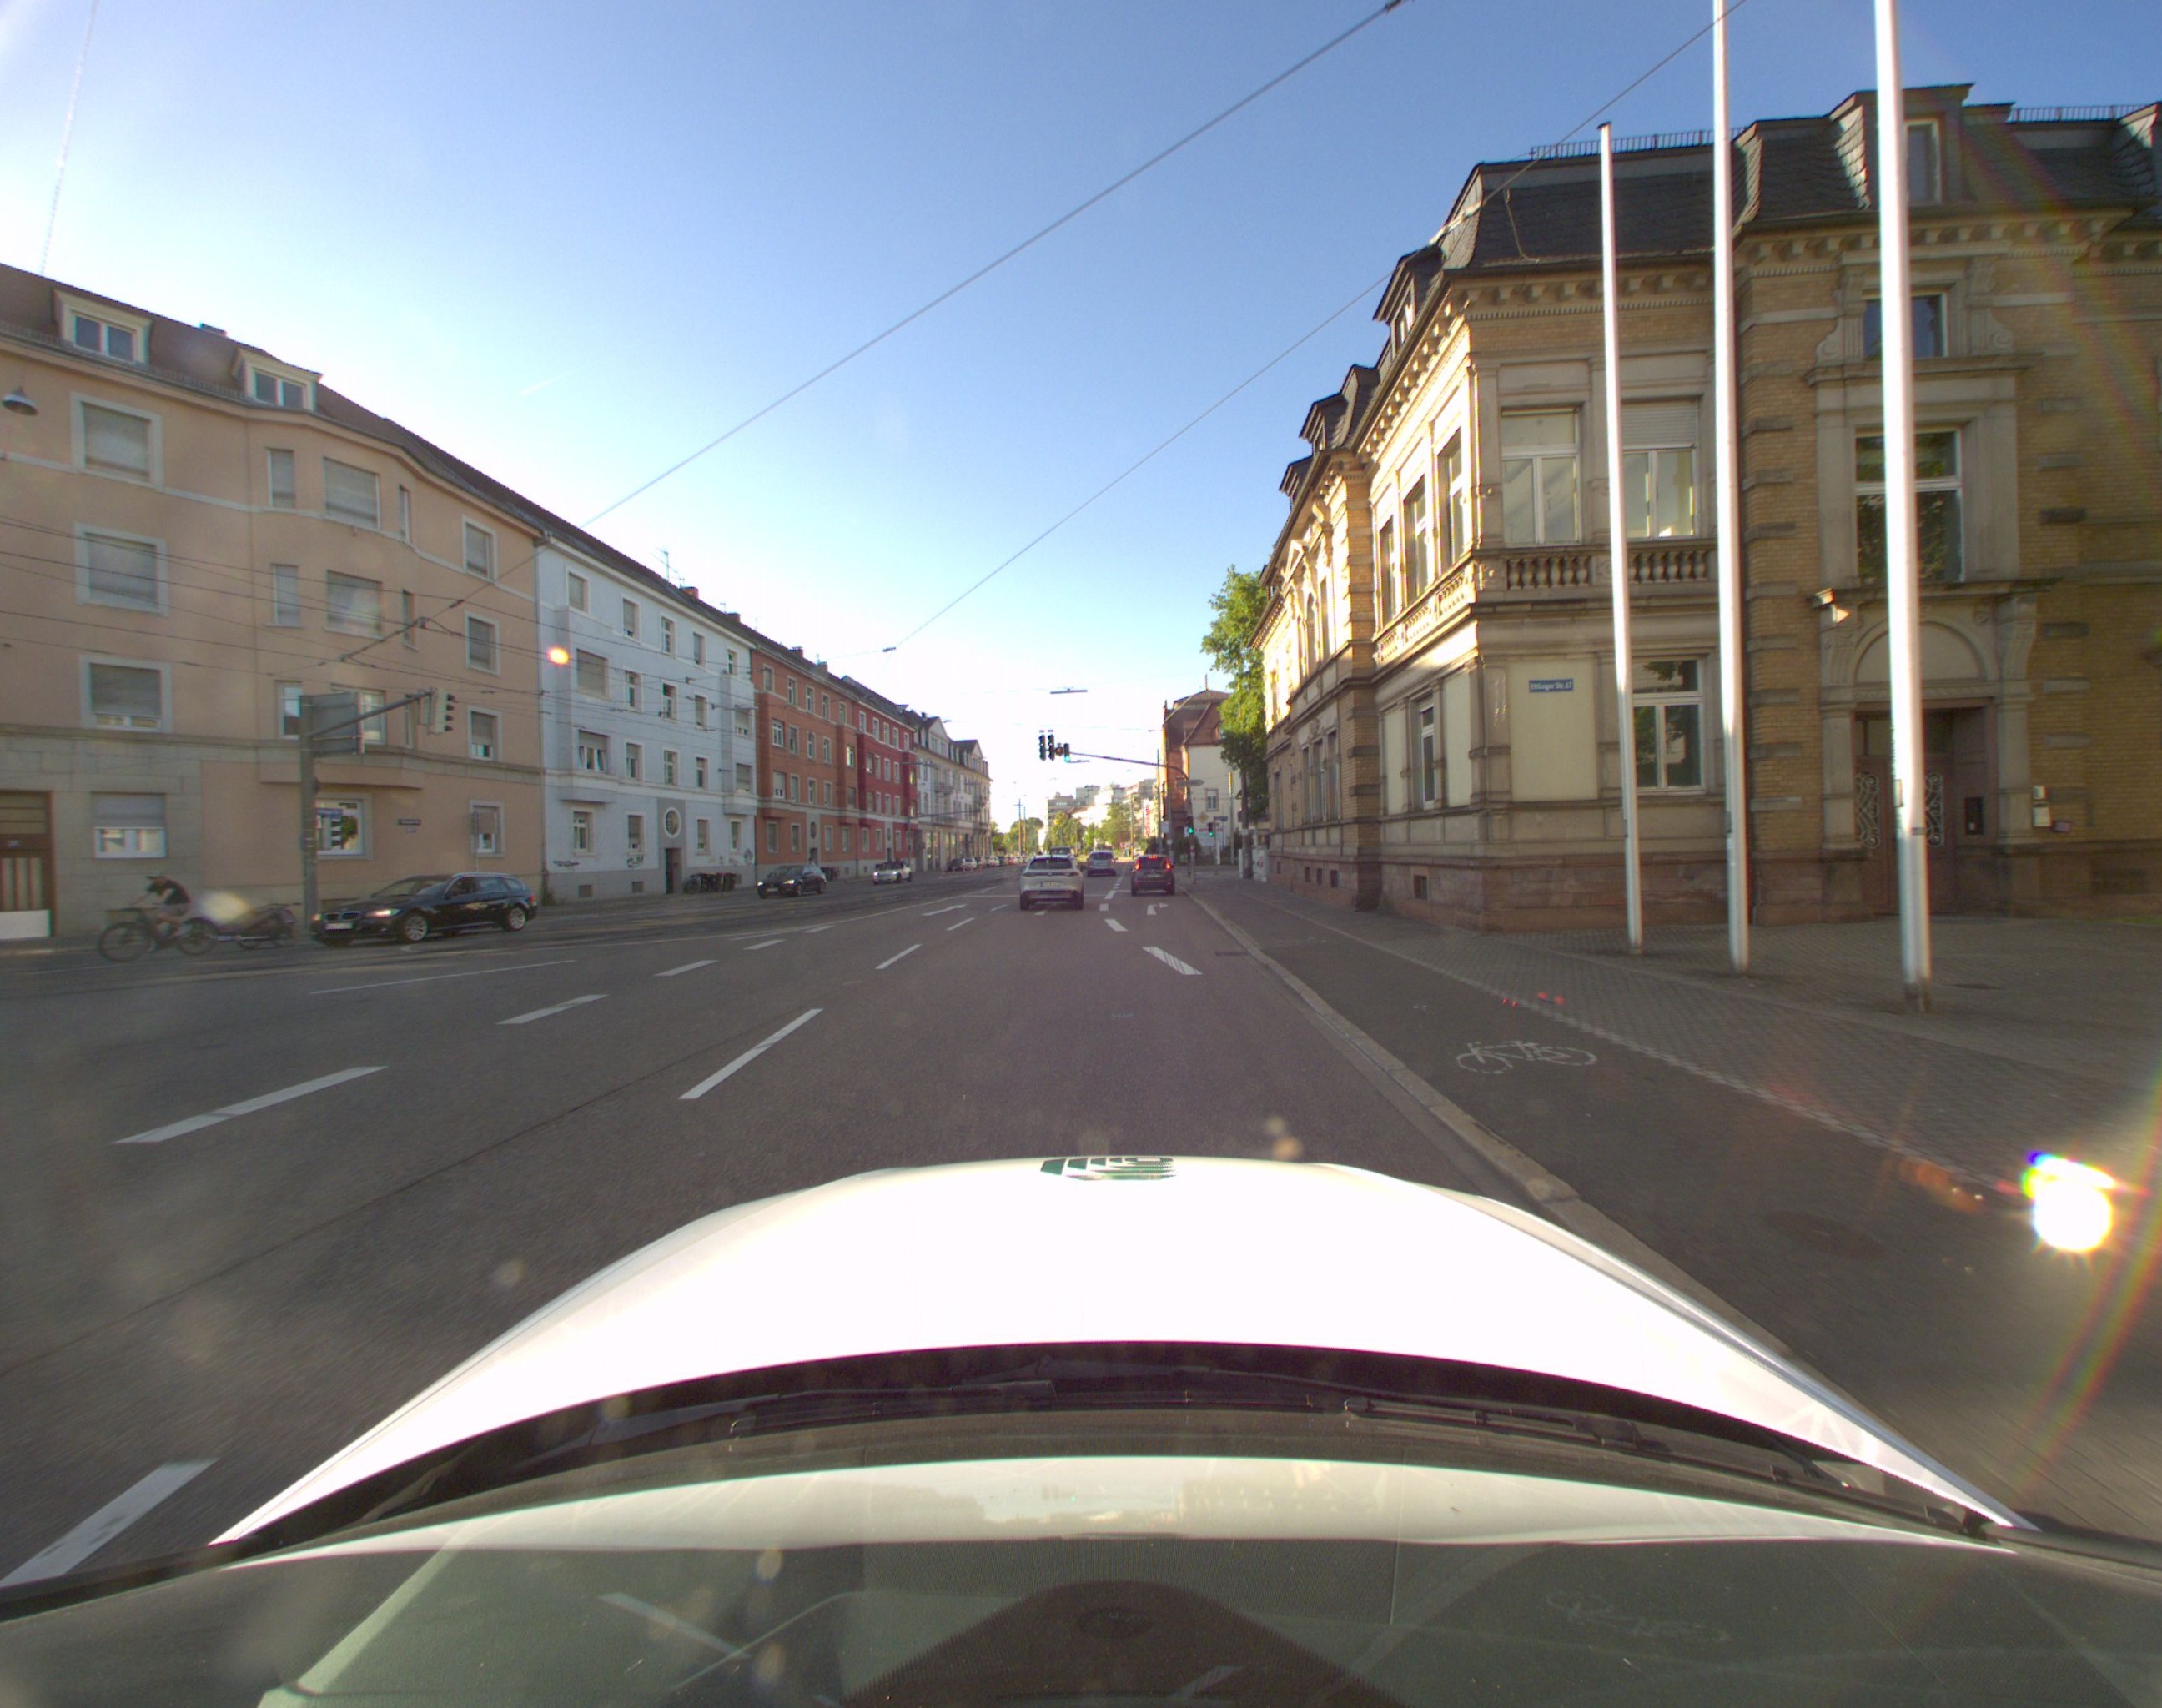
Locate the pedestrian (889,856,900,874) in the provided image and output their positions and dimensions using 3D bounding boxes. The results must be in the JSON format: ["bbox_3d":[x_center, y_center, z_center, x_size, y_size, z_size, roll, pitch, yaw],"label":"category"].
[{"bbox_3d":[-17.218,1.059,75.174,0.786,1.633,0.658,-1,0,22],"label":"pedestrian"}]

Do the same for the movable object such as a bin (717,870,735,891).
[{"bbox_3d":[-19.907,1.483,45.649,0.699,1.106,0.583,-1,0,3],"label":"movable object such as a bin"}]

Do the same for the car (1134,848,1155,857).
[{"bbox_3d":[13.832,-0.291,177.846,4.252,2.013,1.996,-1,0,-6],"label":"car"}]

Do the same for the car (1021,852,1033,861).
[{"bbox_3d":[-10.416,0.434,156.433,1.711,1.552,4.004,-2,0,4],"label":"car"}]

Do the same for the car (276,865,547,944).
[{"bbox_3d":[-14.206,0.991,17.742,1.986,1.392,4.564,-1,0,2],"label":"car"}]

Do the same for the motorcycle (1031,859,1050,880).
[{"bbox_3d":[-2.280,0.857,46.045,0.774,1.082,2.283,-1,0,4],"label":"motorcycle"}]

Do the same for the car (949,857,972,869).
[{"bbox_3d":[-13.711,0.991,93.084,1.711,1.232,4.004,-2,0,4],"label":"car"}]

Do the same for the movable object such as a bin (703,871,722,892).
[{"bbox_3d":[-20.066,1.473,44.348,0.699,1.106,0.649,-1,0,3],"label":"movable object such as a bin"}]

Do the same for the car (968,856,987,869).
[{"bbox_3d":[-13.136,1.029,103.616,1.711,1.552,3.860,-2,0,4],"label":"car"}]

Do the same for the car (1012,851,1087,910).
[{"bbox_3d":[-0.846,0.716,24.237,1.940,1.528,4.091,-1,0,1],"label":"car"}]

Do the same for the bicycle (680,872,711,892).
[{"bbox_3d":[-20.214,1.484,42.764,0.603,0.980,1.879,-1,0,4],"label":"bicycle"}]

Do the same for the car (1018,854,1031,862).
[{"bbox_3d":[-10.423,0.727,150.404,1.711,1.552,4.004,-2,0,4],"label":"car"}]

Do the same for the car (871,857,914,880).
[{"bbox_3d":[-12.069,0.917,52.398,1.719,1.375,3.537,-2,0,3],"label":"car"}]

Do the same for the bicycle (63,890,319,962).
[{"bbox_3d":[-16.961,1.316,15.744,0.928,1.056,3.362,-1,0,9],"label":"bicycle"}]

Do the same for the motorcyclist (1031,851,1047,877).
[{"bbox_3d":[-2.351,0.560,45.990,0.774,1.423,0.892,-1,0,3],"label":"motorcyclist"}]

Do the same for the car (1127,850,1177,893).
[{"bbox_3d":[2.810,0.632,31.552,1.722,1.500,4.008,-1,0,7],"label":"car"}]

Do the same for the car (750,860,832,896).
[{"bbox_3d":[-13.220,1.066,37.434,1.914,1.455,4.502,-1,0,3],"label":"car"}]

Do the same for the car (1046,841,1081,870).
[{"bbox_3d":[-1.241,0.114,61.340,2.162,2.009,4.813,-2,0,4],"label":"car"}]

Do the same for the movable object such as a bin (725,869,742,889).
[{"bbox_3d":[-19.757,1.404,46.341,0.699,1.106,0.583,-1,0,3],"label":"movable object such as a bin"}]

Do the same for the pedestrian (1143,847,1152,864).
[{"bbox_3d":[7.233,0.140,88.796,0.871,1.824,1.186,-1,0,5],"label":"pedestrian"}]

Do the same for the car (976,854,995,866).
[{"bbox_3d":[-12.938,0.791,110.396,1.827,1.552,4.279,-2,0,4],"label":"car"}]

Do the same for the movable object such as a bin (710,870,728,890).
[{"bbox_3d":[-20.020,1.444,45.008,0.699,1.106,0.583,-1,0,4],"label":"movable object such as a bin"}]

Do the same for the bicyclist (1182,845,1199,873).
[{"bbox_3d":[6.064,0.260,45.205,0.831,1.525,0.994,-1,0,1],"label":"bicyclist"}]

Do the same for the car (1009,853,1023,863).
[{"bbox_3d":[-11.126,0.698,139.556,1.711,1.552,4.005,-1,0,4],"label":"car"}]

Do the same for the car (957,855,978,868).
[{"bbox_3d":[-13.688,0.876,98.682,1.711,1.452,4.004,-2,0,4],"label":"car"}]

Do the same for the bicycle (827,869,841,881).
[{"bbox_3d":[-18.889,1.585,62.385,0.332,0.890,1.608,-2,0,8],"label":"bicycle"}]

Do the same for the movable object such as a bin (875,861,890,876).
[{"bbox_3d":[-17.881,1.297,73.393,0.865,1.249,1.237,-2,0,10],"label":"movable object such as a bin"}]

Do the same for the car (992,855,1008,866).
[{"bbox_3d":[-11.991,0.919,120.584,1.711,1.552,4.004,-2,0,4],"label":"car"}]

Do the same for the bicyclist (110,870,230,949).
[{"bbox_3d":[-17.043,1.015,15.268,0.928,1.382,1.151,-1,0,8],"label":"bicyclist"}]

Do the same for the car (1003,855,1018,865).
[{"bbox_3d":[-11.318,0.901,131.277,1.711,1.552,4.004,-2,0,4],"label":"car"}]

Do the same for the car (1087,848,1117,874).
[{"bbox_3d":[1.413,0.451,52.969,1.806,1.582,4.004,-2,0,3],"label":"car"}]

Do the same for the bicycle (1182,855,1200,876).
[{"bbox_3d":[6.064,0.625,45.036,0.768,1.086,1.872,-1,0,3],"label":"bicycle"}]

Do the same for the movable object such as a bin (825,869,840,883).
[{"bbox_3d":[-18.631,1.661,61.157,0.840,1.040,0.811,-2,0,-1],"label":"movable object such as a bin"}]

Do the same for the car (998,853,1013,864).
[{"bbox_3d":[-11.682,0.692,126.541,1.711,1.552,4.004,-2,0,4],"label":"car"}]
